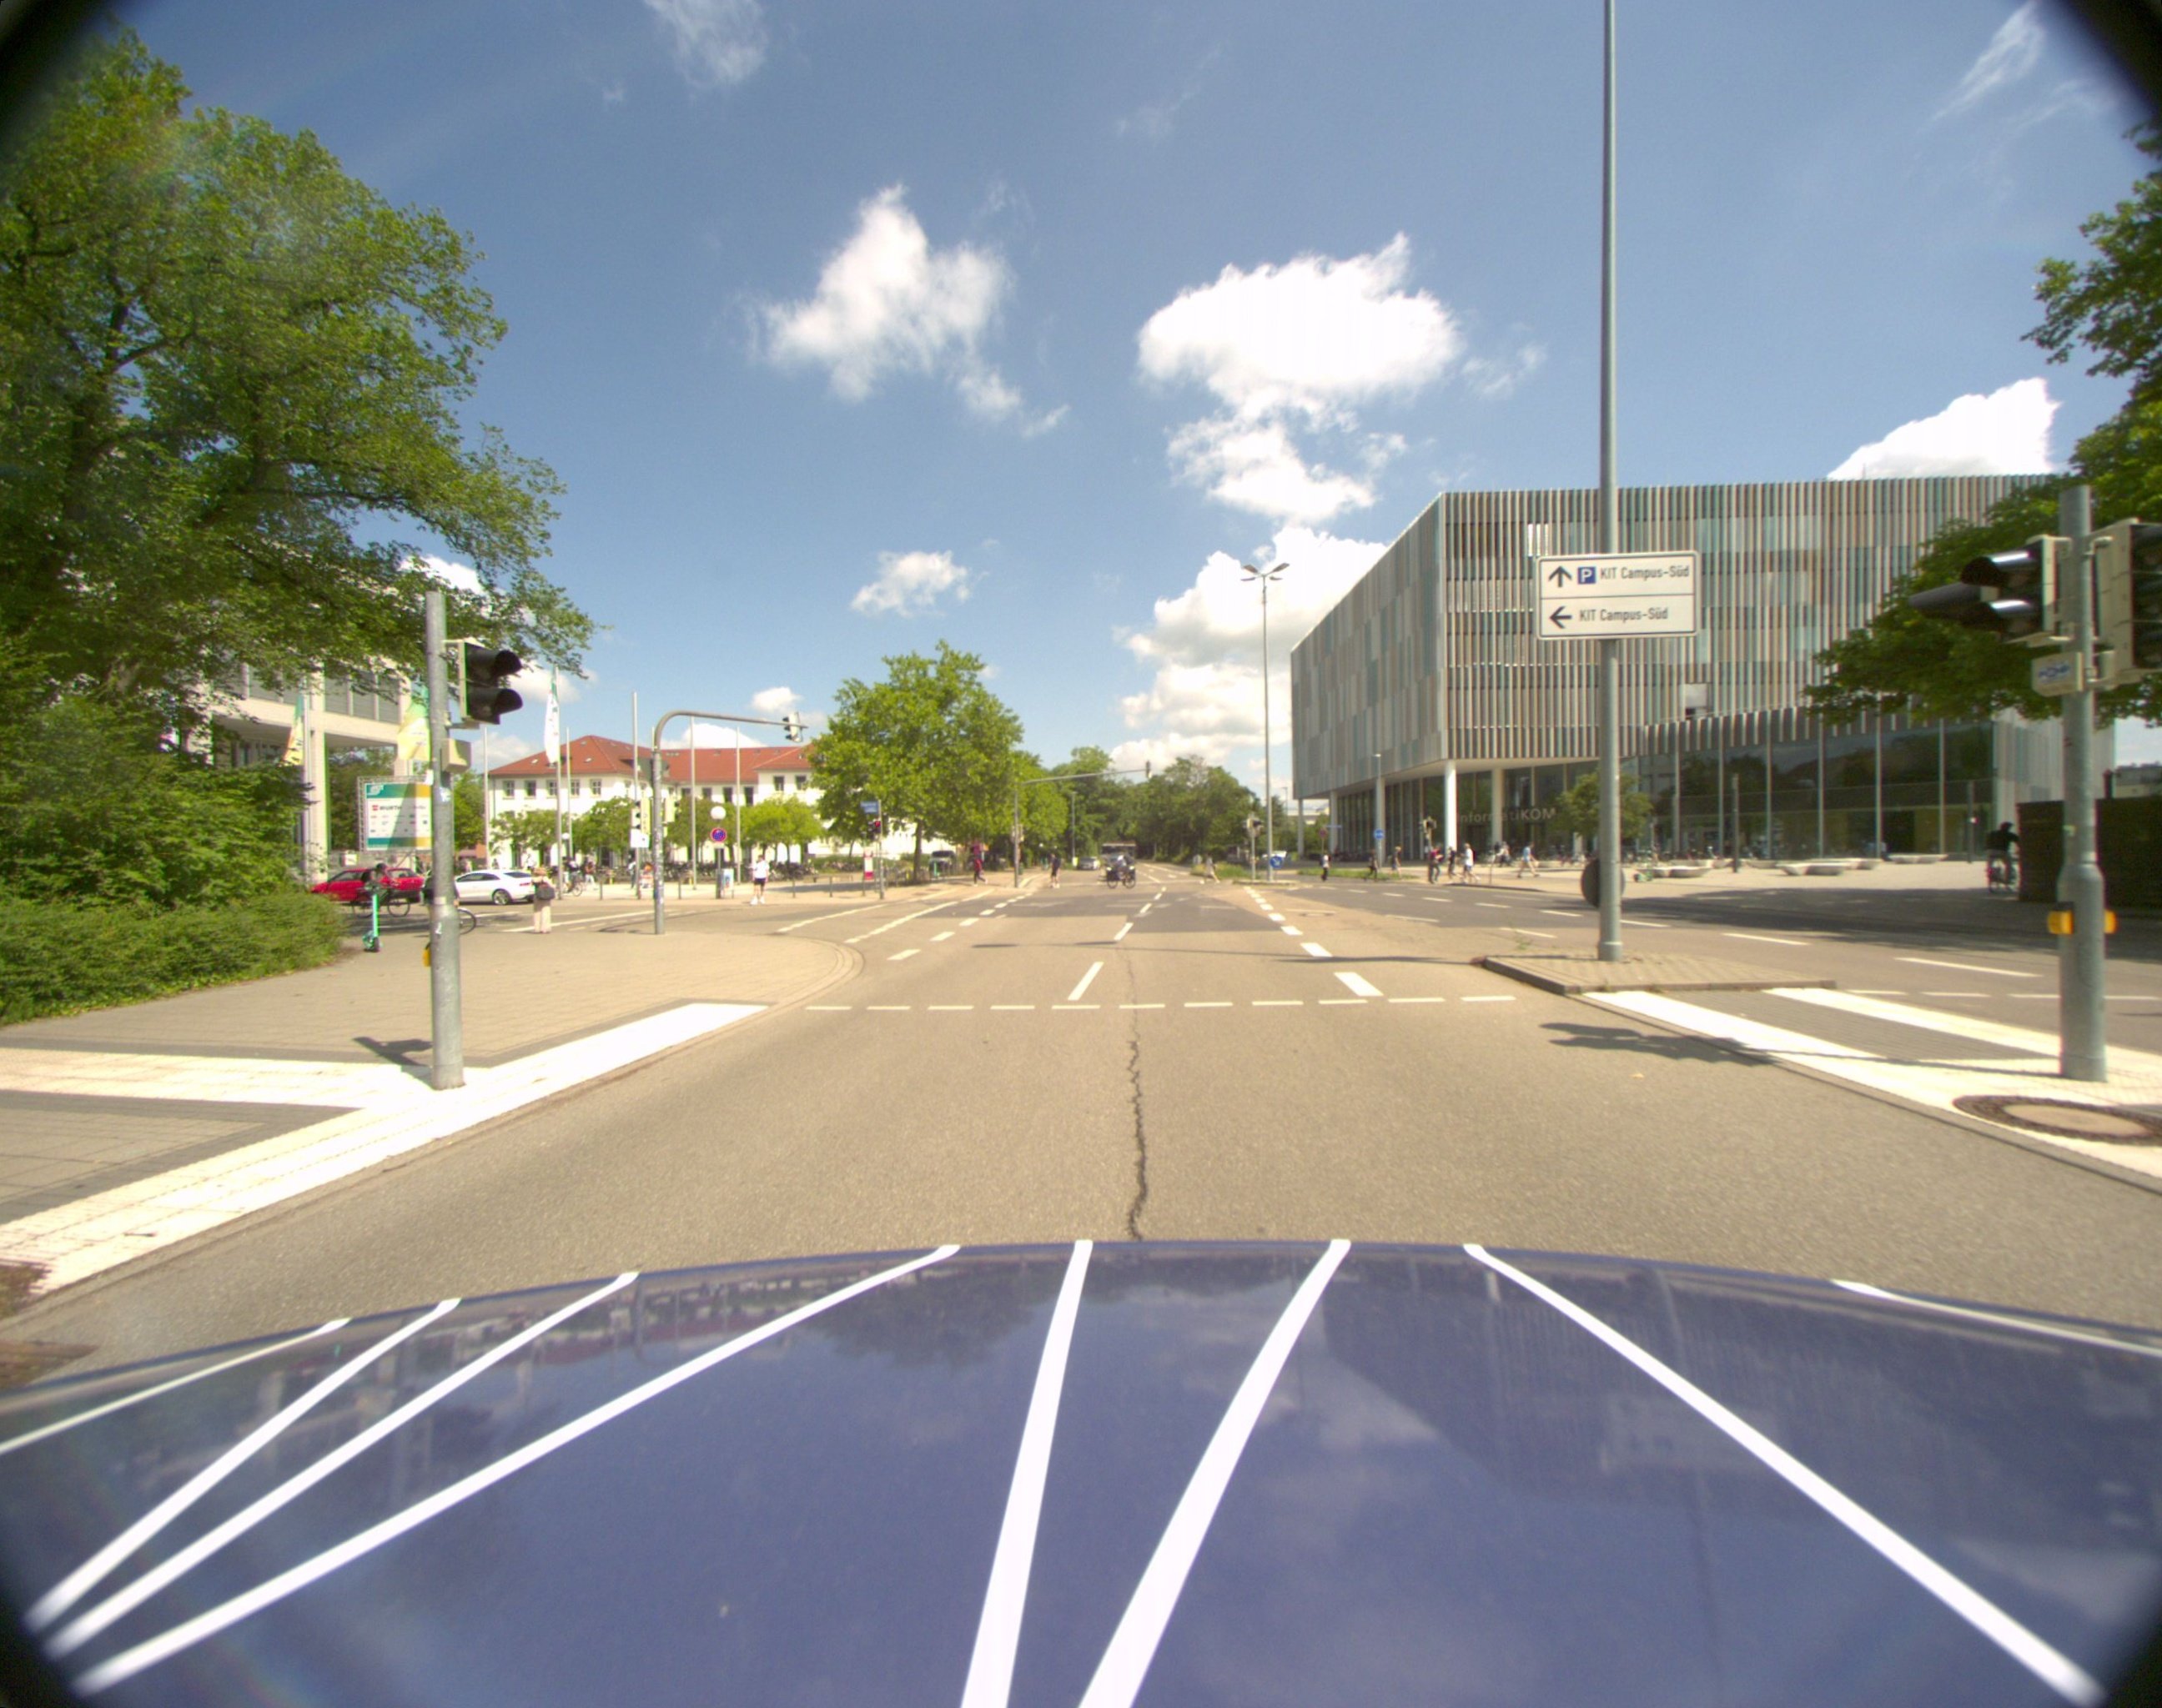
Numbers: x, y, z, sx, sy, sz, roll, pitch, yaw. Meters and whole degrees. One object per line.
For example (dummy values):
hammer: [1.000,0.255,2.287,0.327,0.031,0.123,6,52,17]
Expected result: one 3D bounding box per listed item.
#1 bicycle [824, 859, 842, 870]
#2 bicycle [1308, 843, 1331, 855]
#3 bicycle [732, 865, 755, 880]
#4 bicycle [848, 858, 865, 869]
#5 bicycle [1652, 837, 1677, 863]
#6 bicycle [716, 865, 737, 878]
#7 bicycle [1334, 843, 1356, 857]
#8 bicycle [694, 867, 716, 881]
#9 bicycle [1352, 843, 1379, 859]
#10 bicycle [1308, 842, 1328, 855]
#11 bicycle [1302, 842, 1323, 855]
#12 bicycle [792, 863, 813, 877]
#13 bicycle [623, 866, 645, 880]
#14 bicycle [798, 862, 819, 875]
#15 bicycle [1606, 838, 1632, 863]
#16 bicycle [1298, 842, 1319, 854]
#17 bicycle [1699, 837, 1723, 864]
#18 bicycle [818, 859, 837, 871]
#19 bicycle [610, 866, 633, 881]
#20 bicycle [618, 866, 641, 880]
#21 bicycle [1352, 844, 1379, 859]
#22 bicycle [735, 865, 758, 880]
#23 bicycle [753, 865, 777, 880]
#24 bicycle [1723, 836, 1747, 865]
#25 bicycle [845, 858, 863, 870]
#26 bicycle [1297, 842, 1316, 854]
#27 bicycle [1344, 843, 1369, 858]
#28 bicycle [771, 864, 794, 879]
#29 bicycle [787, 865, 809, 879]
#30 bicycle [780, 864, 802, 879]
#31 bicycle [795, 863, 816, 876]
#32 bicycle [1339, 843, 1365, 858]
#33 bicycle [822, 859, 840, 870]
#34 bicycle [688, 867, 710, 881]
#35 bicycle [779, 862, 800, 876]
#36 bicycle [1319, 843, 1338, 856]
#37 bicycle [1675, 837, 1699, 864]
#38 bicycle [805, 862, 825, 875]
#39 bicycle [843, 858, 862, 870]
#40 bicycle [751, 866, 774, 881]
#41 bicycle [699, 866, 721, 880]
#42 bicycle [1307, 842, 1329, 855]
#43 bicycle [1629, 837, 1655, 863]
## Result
bicycle: [-21.756,0.926,66.568,1.428,0.945,0.352,-1,1,-1]
bicycle: [28.966,-0.617,92.289,2.510,1.486,0.621,-1,1,5]
bicycle: [-22.699,1.255,51.055,1.371,0.995,0.352,-1,1,-1]
bicycle: [-19.754,0.869,66.856,1.428,0.945,0.352,-1,1,-1]
bicycle: [36.054,-0.252,46.923,0.997,1.543,3.422,-1,1,41]
bicycle: [-25.913,1.274,55.535,1.371,0.945,0.352,-1,1,-4]
bicycle: [28.978,-0.428,83.366,2.199,1.486,0.621,-1,1,5]
bicycle: [-25.463,1.341,51.495,1.370,0.945,0.352,-1,1,8]
bicycle: [29.004,-0.306,77.571,2.508,1.486,0.730,-1,1,14]
bicycle: [29.429,-0.675,94.443,2.329,1.486,0.621,-1,1,5]
bicycle: [29.274,-0.707,96.153,2.510,1.486,0.621,-1,1,5]
bicycle: [-20.227,1.162,55.134,1.371,0.945,0.352,-2,1,-1]
bicycle: [-30.858,1.299,52.497,1.370,0.945,0.352,-1,1,8]
bicycle: [-20.224,1.102,56.444,1.371,0.945,0.352,-1,1,-1]
bicycle: [34.691,-0.261,48.978,0.997,1.543,3.422,-1,1,41]
bicycle: [29.245,-0.742,97.791,2.510,1.486,0.621,-1,1,5]
bicycle: [37.535,-0.251,45.236,0.997,1.543,3.422,0,1,41]
bicycle: [-21.840,0.951,65.492,1.428,0.945,0.352,-1,1,-1]
bicycle: [-31.053,1.330,51.321,1.370,0.945,0.352,-1,1,8]
bicycle: [-30.896,1.309,51.985,1.370,0.945,0.352,-1,1,8]
bicycle: [28.647,-0.275,76.589,2.450,1.486,0.621,-1,1,5]
bicycle: [-22.693,1.236,51.563,1.371,0.995,0.352,-1,1,-1]
bicycle: [-20.966,1.248,50.448,1.371,0.941,0.352,-1,1,-1]
bicycle: [37.534,-0.225,43.568,0.997,1.543,3.422,-1,1,41]
bicycle: [-19.796,0.882,66.278,1.428,0.945,0.352,-1,1,-1]
bicycle: [29.432,-0.773,99.067,2.302,1.486,0.657,-1,1,5]
bicycle: [29.413,-0.391,81.131,2.510,1.486,0.621,-1,1,5]
bicycle: [-20.404,1.202,51.966,1.371,0.945,0.352,-1,1,-1]
bicycle: [-19.853,1.245,53.253,1.371,0.945,0.352,-1,1,-1]
bicycle: [-20.058,1.212,52.557,1.371,0.945,0.352,-1,1,-1]
bicycle: [-20.248,1.131,55.786,1.371,0.945,0.352,-1,1,-1]
bicycle: [28.609,-0.353,80.288,2.510,1.486,0.621,-1,1,5]
bicycle: [-21.732,0.934,66.154,1.428,0.945,0.352,-1,1,-1]
bicycle: [-25.677,1.342,51.073,1.370,0.945,0.352,-1,1,8]
bicycle: [-21.888,1.130,57.109,1.412,0.945,0.352,-1,1,-1]
bicycle: [29.200,-0.568,89.702,2.070,1.486,0.621,-1,1,5]
bicycle: [36.688,-0.249,45.996,0.997,1.543,3.422,-1,1,41]
bicycle: [-20.089,1.077,57.434,1.371,0.945,0.352,-1,1,-1]
bicycle: [-19.755,0.876,65.699,1.428,0.945,0.352,-1,1,-1]
bicycle: [-20.900,1.262,49.874,1.371,0.945,0.352,-1,1,-1]
bicycle: [-25.395,1.296,52.052,1.370,0.945,0.352,-1,1,8]
bicycle: [29.143,-0.663,93.473,2.510,1.486,0.621,-1,1,5]
bicycle: [35.279,-0.250,47.747,0.997,1.543,3.422,-1,1,41]
